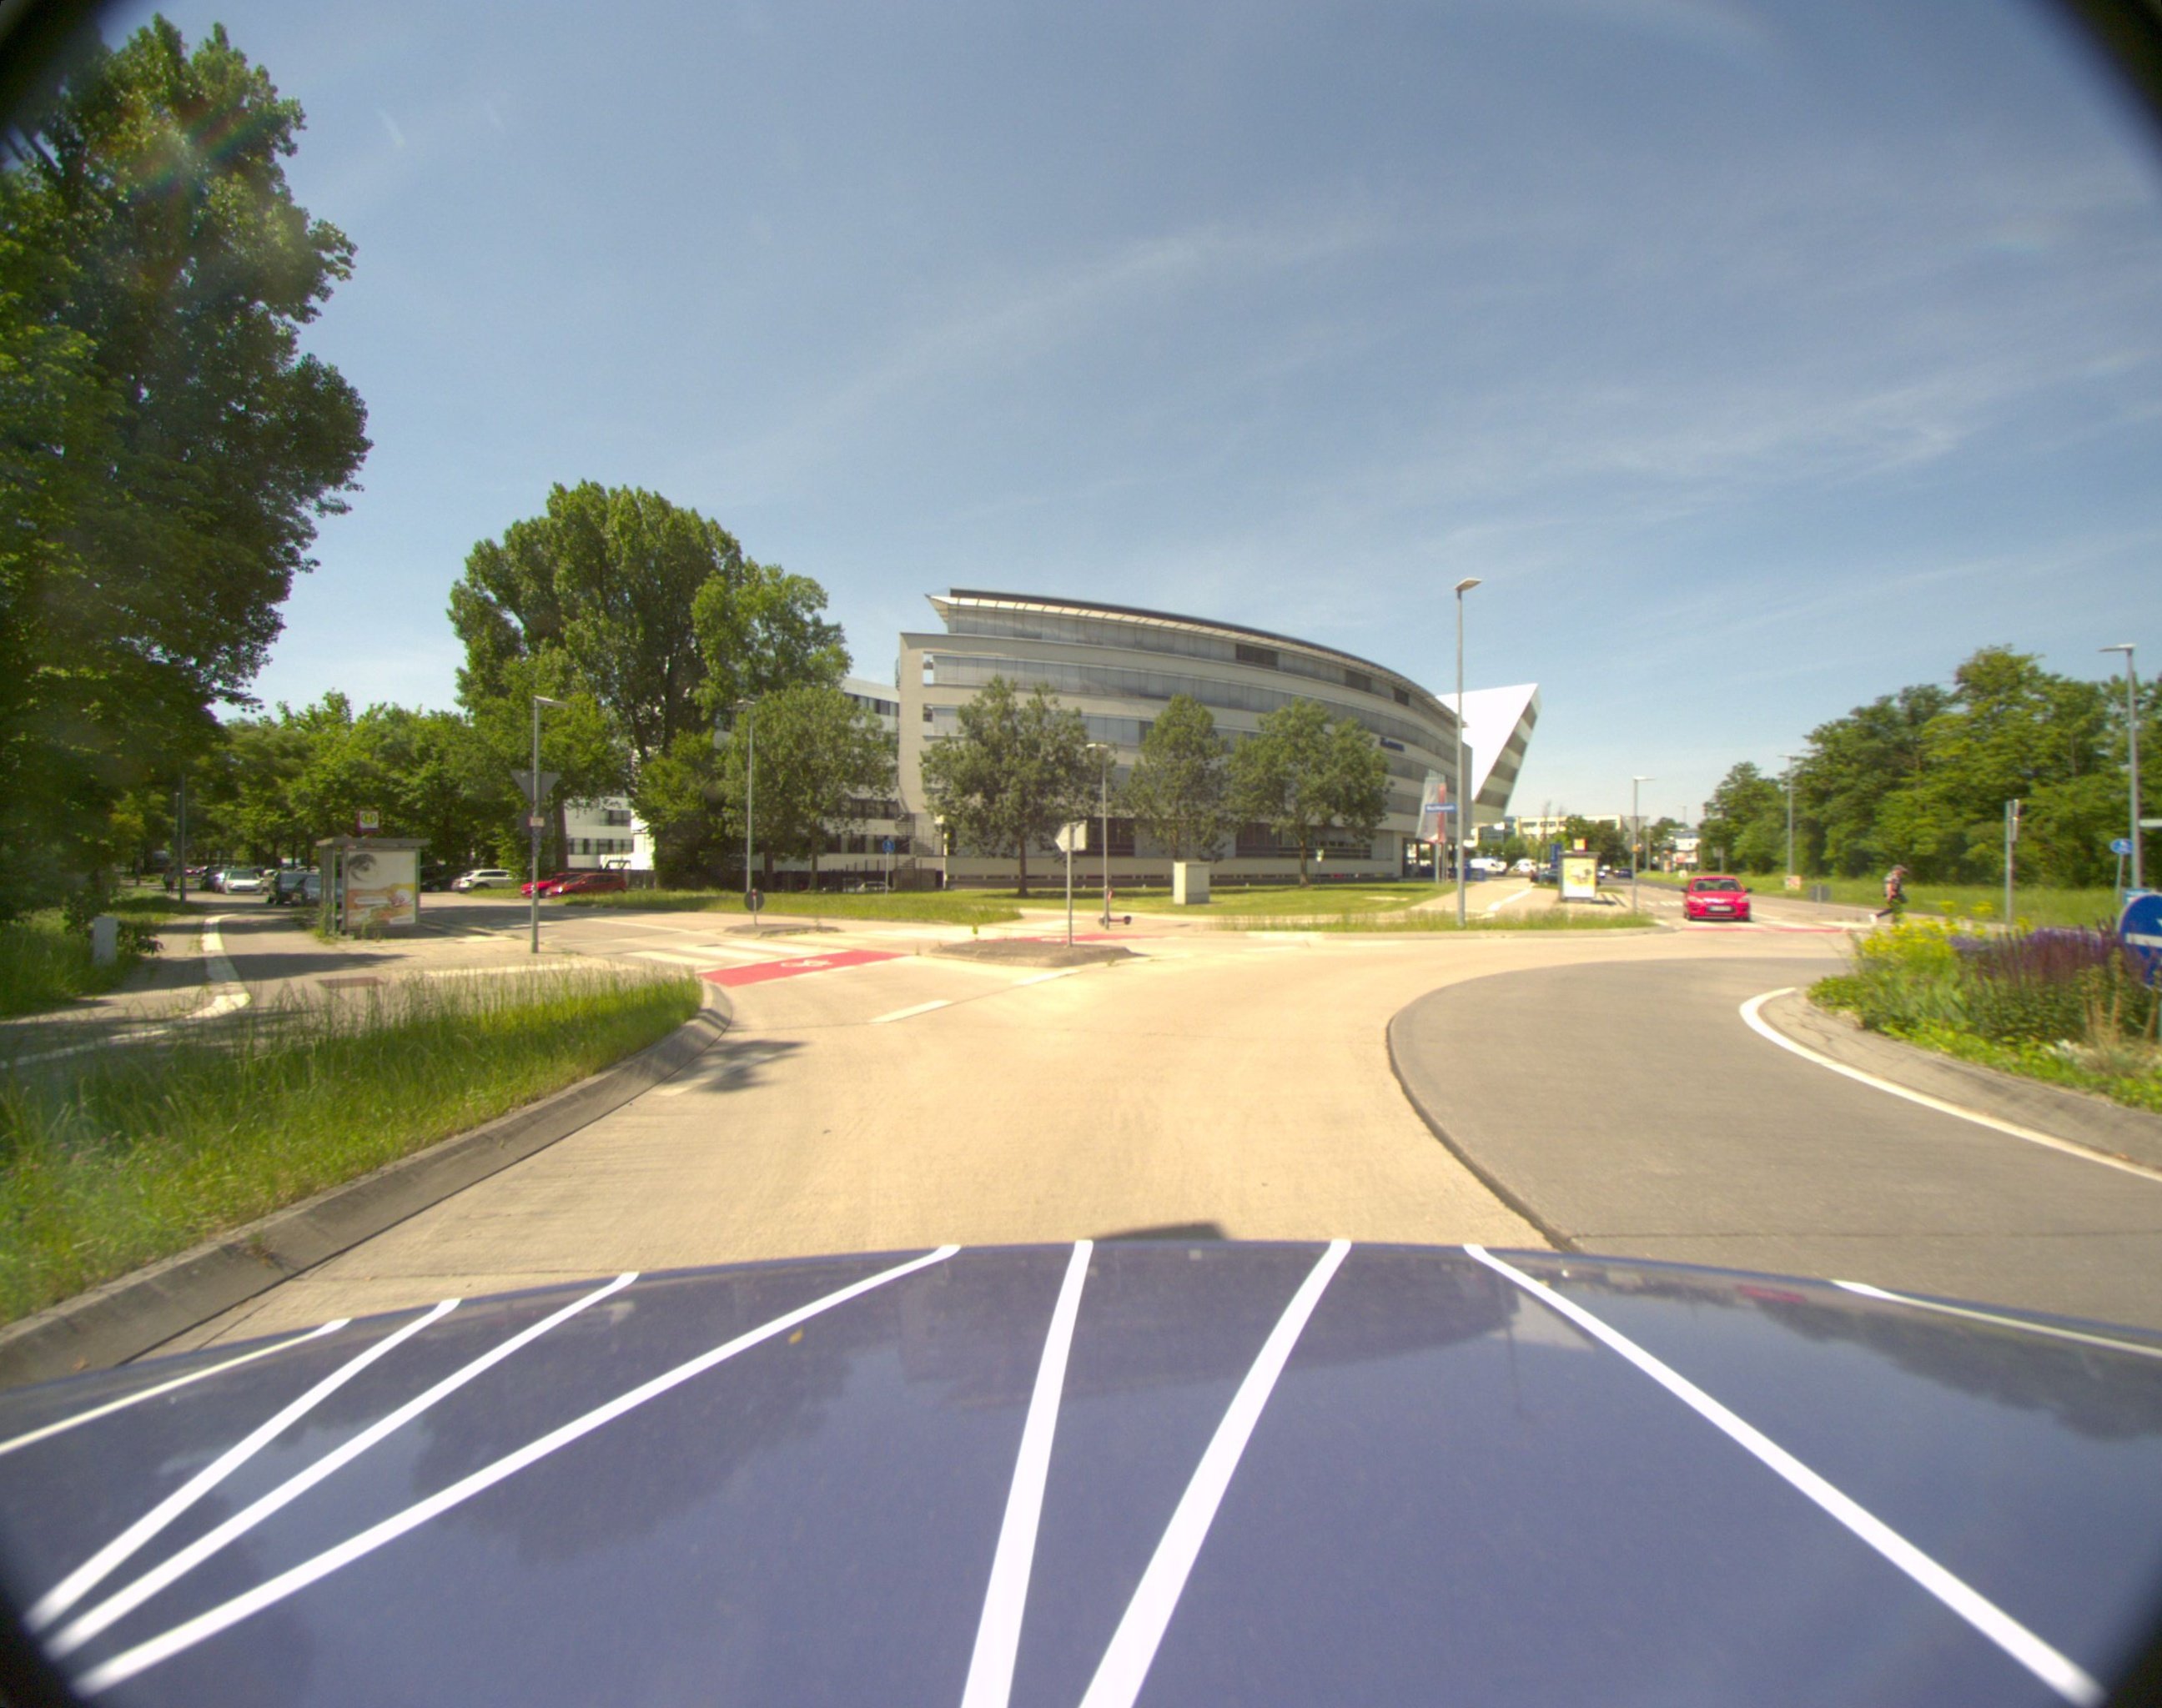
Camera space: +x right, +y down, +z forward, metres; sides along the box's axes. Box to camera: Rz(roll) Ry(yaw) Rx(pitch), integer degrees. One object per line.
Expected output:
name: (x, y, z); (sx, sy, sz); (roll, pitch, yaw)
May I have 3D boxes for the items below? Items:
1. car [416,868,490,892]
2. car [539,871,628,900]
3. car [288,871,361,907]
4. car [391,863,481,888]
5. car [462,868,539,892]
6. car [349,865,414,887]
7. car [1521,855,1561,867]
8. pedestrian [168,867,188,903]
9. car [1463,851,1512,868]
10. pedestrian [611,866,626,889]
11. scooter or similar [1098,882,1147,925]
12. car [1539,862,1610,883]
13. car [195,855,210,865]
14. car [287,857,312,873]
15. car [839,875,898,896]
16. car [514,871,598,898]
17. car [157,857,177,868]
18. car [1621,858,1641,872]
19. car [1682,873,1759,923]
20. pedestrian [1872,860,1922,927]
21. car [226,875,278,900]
car: (-47.478, 1.916, 57.514); (1.755, 1.695, 4.008); (-1, -1, 37)
car: (-27.780, 1.753, 42.509); (1.864, 1.474, 3.693); (-1, -1, 33)
car: (-33.176, 1.523, 33.297); (3.989, 1.476, 1.707); (-2, -3, 37)
car: (-52.666, 1.726, 62.164); (1.755, 1.973, 5.326); (-1, -1, 37)
car: (-39.507, 1.754, 51.770); (1.808, 1.508, 3.794); (-1, -1, 36)
car: (-63.105, 1.936, 68.607); (1.680, 1.861, 4.008); (-1, -1, 35)
car: (89.392, 1.399, 147.662); (6.482, 2.137, 2.169); (-2, -1, 39)
pedestrian: (-51.173, 1.758, 43.054); (0.601, 2.002, 0.601); (-1, 0, 31)
car: (68.552, 0.904, 128.182); (6.951, 2.646, 2.259); (-2, -1, 41)
pedestrian: (-31.787, 1.602, 52.249); (0.643, 1.598, 0.573); (-1, 0, 23)
scooter or similar: (1.243, 1.459, 22.650); (1.401, 1.194, 0.447); (-1, 0, -30)
car: (38.791, 1.457, 59.849); (4.568, 1.424, 1.831); (2, 1, 31)
car: (-173.636, 1.191, 150.176); (3.733, 1.805, 1.844); (-2, -1, 42)
car: (-96.571, 1.319, 93.860); (3.785, 1.870, 1.651); (-2, -1, 37)
car: (-17.275, 2.544, 61.796); (1.848, 1.559, 4.366); (-1, -1, 37)
car: (-31.582, 1.808, 45.811); (1.864, 1.474, 3.693); (-1, -1, 33)
car: (-144.385, 1.362, 120.071); (3.989, 1.674, 1.922); (-2, -1, 40)
car: (77.575, 1.530, 107.161); (1.995, 2.001, 4.008); (-1, -1, 33)
car: (21.685, 1.454, 25.869); (1.659, 1.494, 3.364); (-1, -1, 34)
pedestrian: (22.883, 1.076, 21.333); (0.708, 1.812, 0.828); (2, 2, 33)
car: (-53.228, 2.138, 48.778); (3.989, 1.461, 2.004); (-2, -1, 39)
